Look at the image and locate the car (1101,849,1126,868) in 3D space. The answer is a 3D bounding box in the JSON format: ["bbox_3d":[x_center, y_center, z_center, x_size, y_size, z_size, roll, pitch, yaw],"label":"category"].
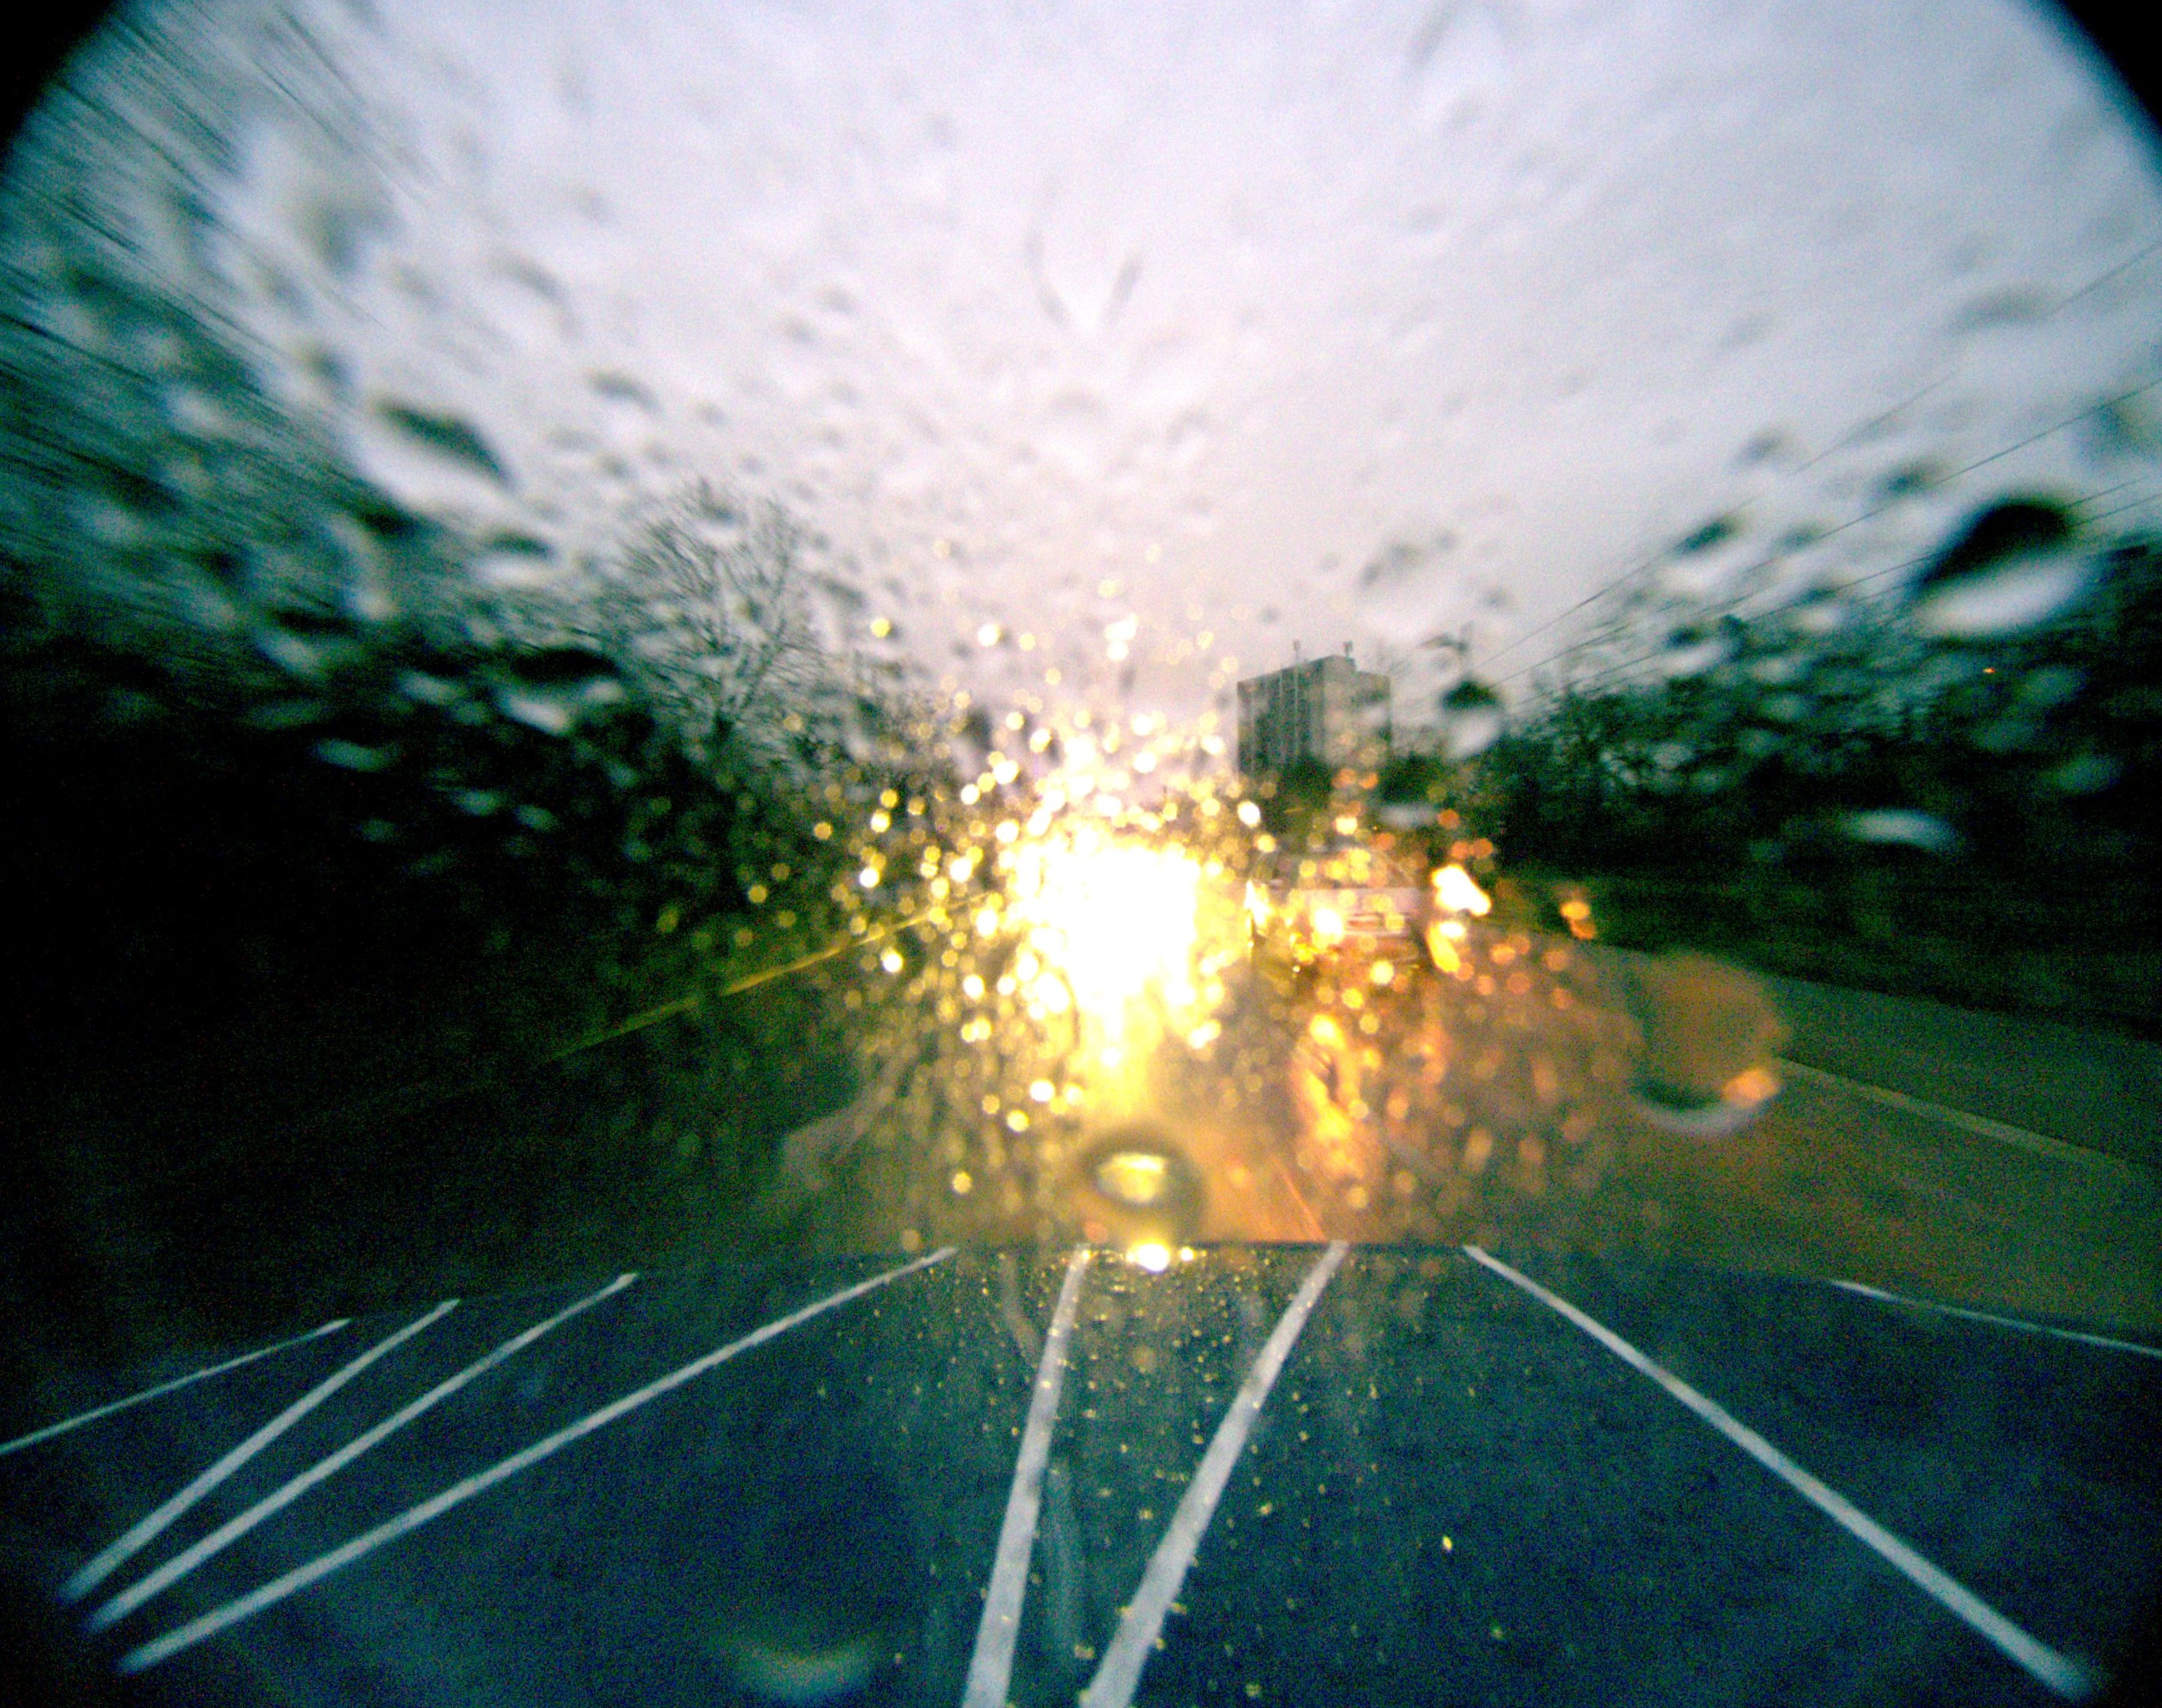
[{"bbox_3d":[3.124,0.413,74.504,1.999,1.652,3.998,-2,1,-4],"label":"car"}]

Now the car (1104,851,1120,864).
[{"bbox_3d":[4.150,0.488,101.727,1.998,1.605,3.999,-2,1,0],"label":"car"}]

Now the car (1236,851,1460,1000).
[{"bbox_3d":[3.284,0.764,10.227,1.693,1.530,4.191,-2,0,3],"label":"car"}]

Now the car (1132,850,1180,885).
[{"bbox_3d":[3.642,0.611,37.560,1.953,1.590,4.124,-1,0,-1],"label":"car"}]

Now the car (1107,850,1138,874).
[{"bbox_3d":[2.945,0.532,54.521,1.953,1.590,4.124,-1,0,-1],"label":"car"}]

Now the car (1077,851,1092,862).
[{"bbox_3d":[0.474,0.363,112.515,1.953,1.590,4.123,-1,0,-2],"label":"car"}]

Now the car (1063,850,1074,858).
[{"bbox_3d":[-2.681,0.048,159.787,1.954,1.590,4.122,-1,0,-6],"label":"car"}]

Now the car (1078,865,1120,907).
[{"bbox_3d":[0.755,1.338,32.926,1.679,1.590,4.045,-1,0,1],"label":"car"}]
